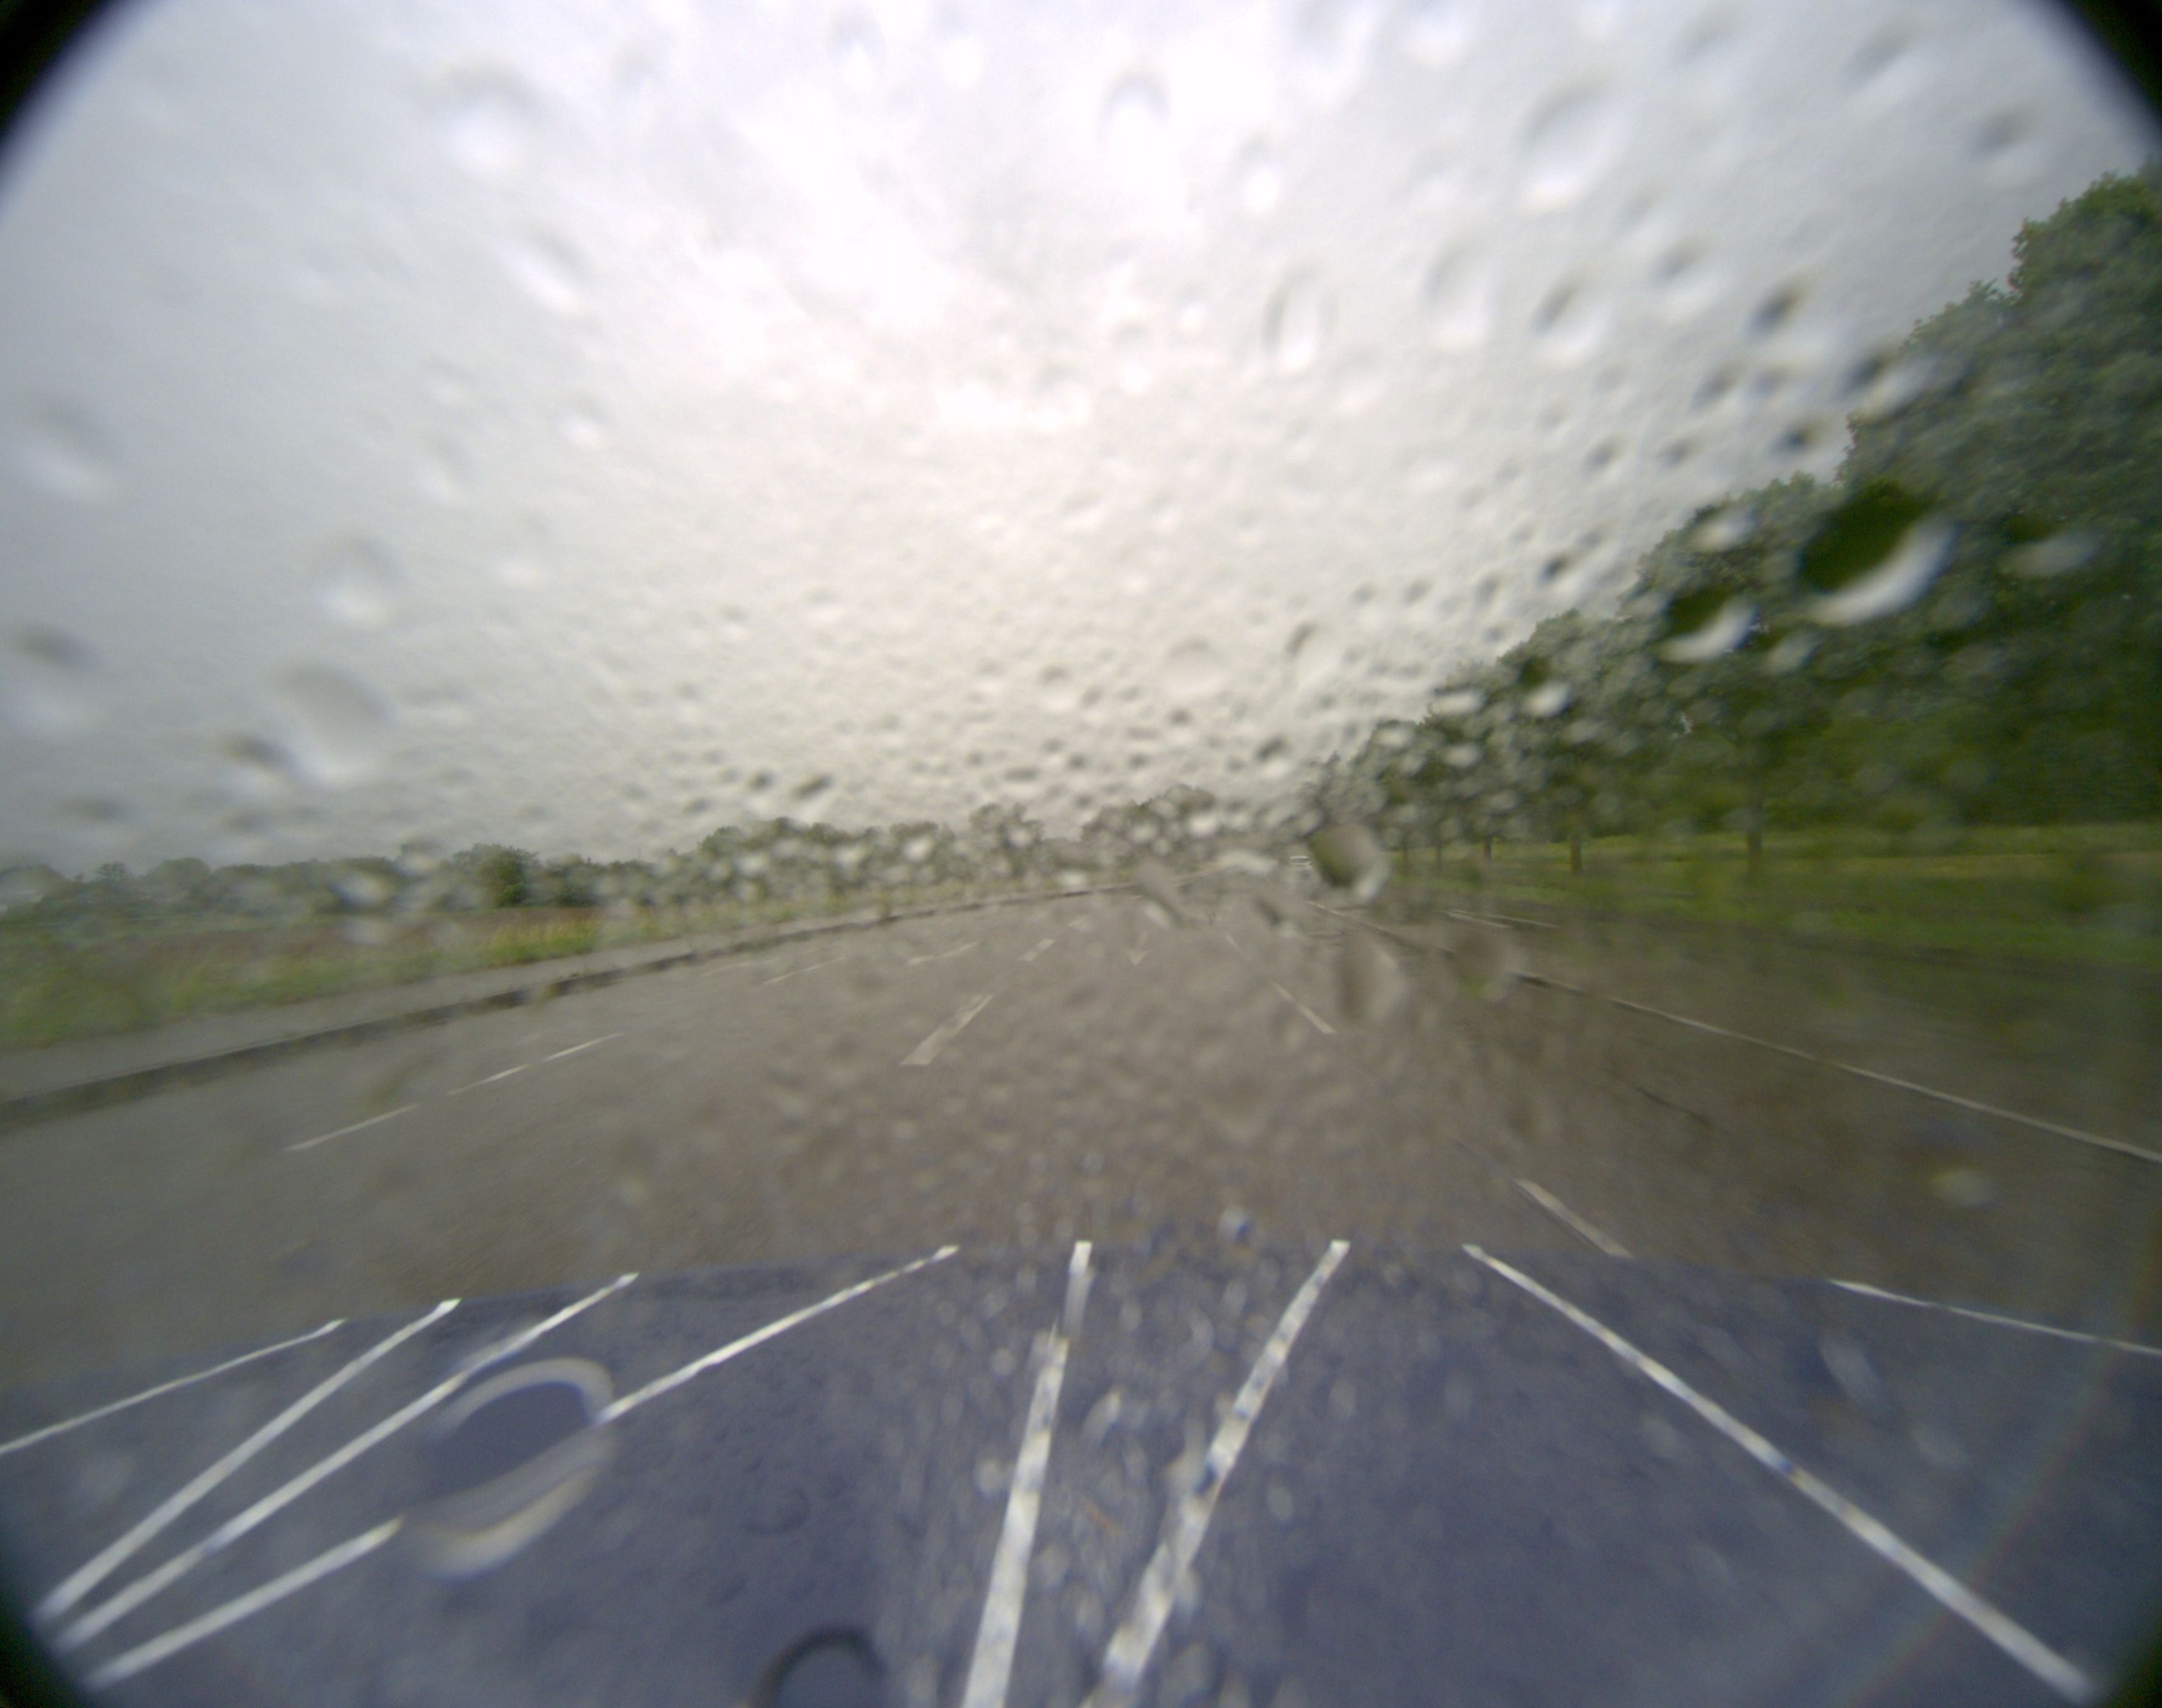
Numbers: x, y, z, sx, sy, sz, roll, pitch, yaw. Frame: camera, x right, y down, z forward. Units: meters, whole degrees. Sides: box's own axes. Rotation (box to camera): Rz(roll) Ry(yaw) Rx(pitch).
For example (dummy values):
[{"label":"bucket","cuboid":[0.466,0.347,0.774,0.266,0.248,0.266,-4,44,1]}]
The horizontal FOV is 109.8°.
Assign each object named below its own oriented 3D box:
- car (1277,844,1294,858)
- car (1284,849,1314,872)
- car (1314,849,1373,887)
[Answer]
[{"label":"car","cuboid":[27.093,-0.443,100.764,1.927,1.733,4.292,-1,1,12]},{"label":"car","cuboid":[15.127,0.420,52.860,1.742,1.478,4.014,-1,1,12]},{"label":"car","cuboid":[12.531,0.612,36.549,1.888,1.578,4.121,-4,0,9]}]
